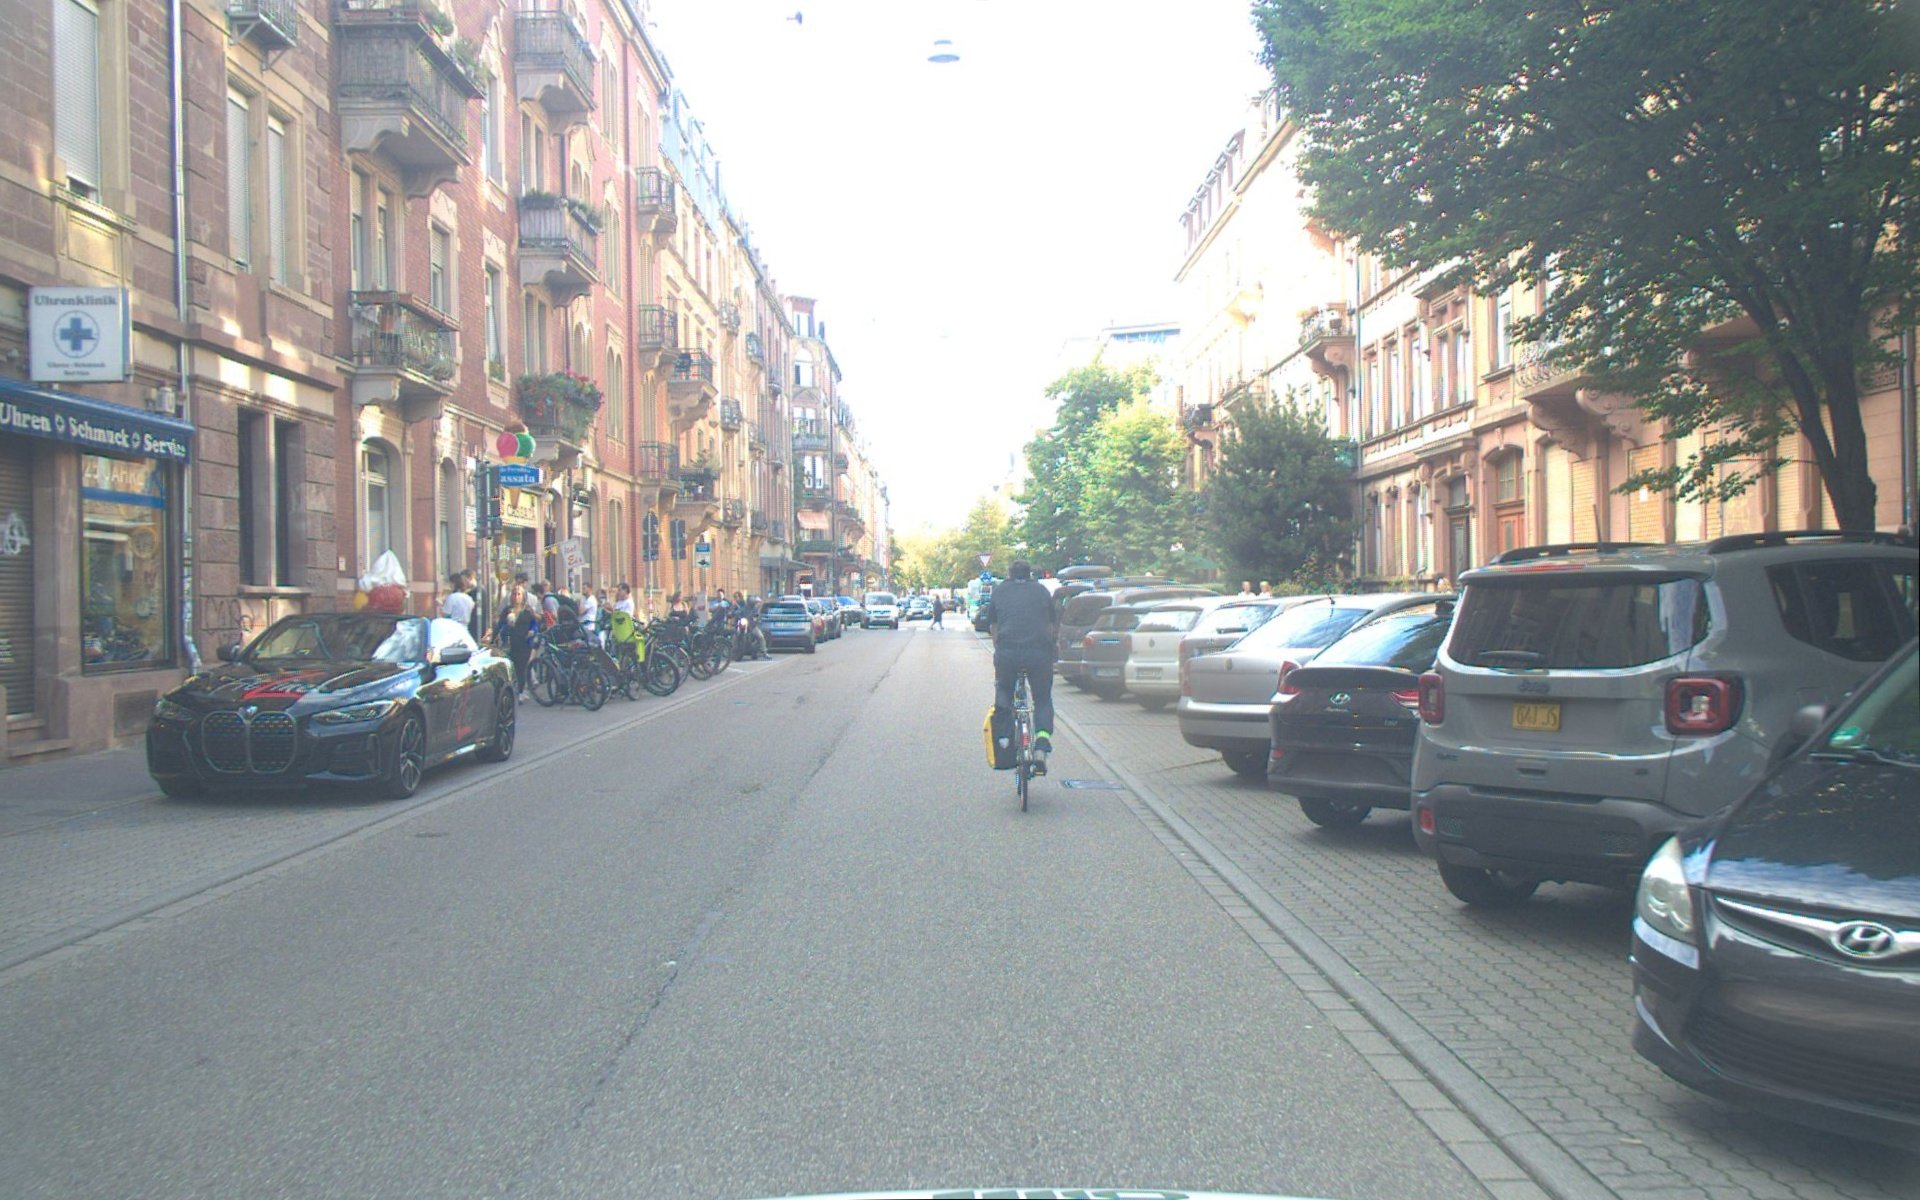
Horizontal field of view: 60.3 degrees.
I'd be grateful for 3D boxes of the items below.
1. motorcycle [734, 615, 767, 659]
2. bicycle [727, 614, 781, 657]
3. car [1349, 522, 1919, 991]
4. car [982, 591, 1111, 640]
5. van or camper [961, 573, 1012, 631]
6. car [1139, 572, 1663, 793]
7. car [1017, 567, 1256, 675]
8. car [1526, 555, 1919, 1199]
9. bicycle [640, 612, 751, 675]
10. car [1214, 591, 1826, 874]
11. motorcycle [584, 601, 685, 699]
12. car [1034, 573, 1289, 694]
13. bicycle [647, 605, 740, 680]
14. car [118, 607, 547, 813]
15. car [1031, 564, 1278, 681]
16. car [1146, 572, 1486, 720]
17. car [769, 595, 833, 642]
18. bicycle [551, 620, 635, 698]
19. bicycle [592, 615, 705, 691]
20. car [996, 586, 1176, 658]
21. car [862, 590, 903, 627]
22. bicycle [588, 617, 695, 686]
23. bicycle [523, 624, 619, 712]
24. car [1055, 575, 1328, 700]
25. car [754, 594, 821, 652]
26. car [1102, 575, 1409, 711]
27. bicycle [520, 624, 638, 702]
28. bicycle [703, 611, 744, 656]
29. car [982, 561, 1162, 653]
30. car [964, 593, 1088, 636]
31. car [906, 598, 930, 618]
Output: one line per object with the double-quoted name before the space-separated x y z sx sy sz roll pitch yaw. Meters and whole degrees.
"motorcycle" -5.171 0.905 40.934 0.778 1.012 2.495 0 0 -7
"bicycle" -5.319 0.911 42.770 0.472 1.078 1.904 1 0 23
"car" 3.916 0.523 8.012 3.956 1.728 1.829 -2 1 -36
"car" 3.127 0.535 59.475 4.419 1.490 1.856 -4 2 -36
"van or camper" 1.410 0.117 91.485 2.481 3.090 4.456 -1 0 -3
"car" 3.895 0.610 14.291 4.555 1.477 1.772 -3 1 -33
"car" 3.521 0.393 33.539 4.544 1.815 1.809 -4 2 -2
"car" 3.753 0.676 5.181 4.082 1.547 1.820 0 -1 -38
"bicycle" -5.202 0.844 32.686 0.792 1.179 2.261 0 0 36
"car" 3.783 0.708 10.912 4.093 1.442 1.845 -2 1 -37
"motorcycle" -4.876 0.719 24.906 0.692 1.408 2.025 0 0 14
"car" 3.393 0.516 27.641 3.949 1.771 1.820 -2 0 -32
"bicycle" -4.909 0.768 30.535 1.659 1.345 0.521 0 0 -37
"car" -4.916 0.760 13.844 1.775 1.374 5.113 0 0 -2
"car" 3.593 0.388 30.322 4.349 1.854 1.735 -3 0 -33
"car" 4.362 0.526 20.068 3.958 1.486 1.862 -3 -1 -37
"car" -5.713 0.652 59.867 1.953 1.572 4.425 -1 0 -2
"bicycle" -5.550 0.878 25.113 0.566 1.109 1.739 0 0 12
"bicycle" -5.147 0.856 27.417 1.772 1.221 0.583 0 0 -38
"car" 3.248 0.517 42.321 4.408 1.762 1.975 0 0 -36
"car" -3.986 0.453 85.607 1.878 1.860 4.437 0 0 0
"bicycle" -5.383 0.857 28.001 1.720 1.140 0.548 0 0 -38
"bicycle" -5.253 0.896 22.283 1.551 1.136 0.372 0 0 38
"car" 3.553 0.527 25.096 3.960 1.575 1.843 -4 1 -38
"car" -4.998 0.650 48.485 1.789 1.606 5.259 0 0 -4
"car" 4.046 0.558 22.442 3.952 1.476 1.716 -4 0 -33
"bicycle" -5.322 0.870 23.081 1.646 1.048 0.409 0 0 20
"bicycle" -6.056 0.842 42.439 0.482 1.114 1.906 1 0 8
"car" 3.281 0.177 48.048 5.098 2.447 1.895 -2 0 -34
"car" 2.734 0.564 67.891 4.702 1.482 2.037 -4 2 -29
"car" -3.058 0.595 119.609 1.715 1.461 4.209 0 -1 -2
